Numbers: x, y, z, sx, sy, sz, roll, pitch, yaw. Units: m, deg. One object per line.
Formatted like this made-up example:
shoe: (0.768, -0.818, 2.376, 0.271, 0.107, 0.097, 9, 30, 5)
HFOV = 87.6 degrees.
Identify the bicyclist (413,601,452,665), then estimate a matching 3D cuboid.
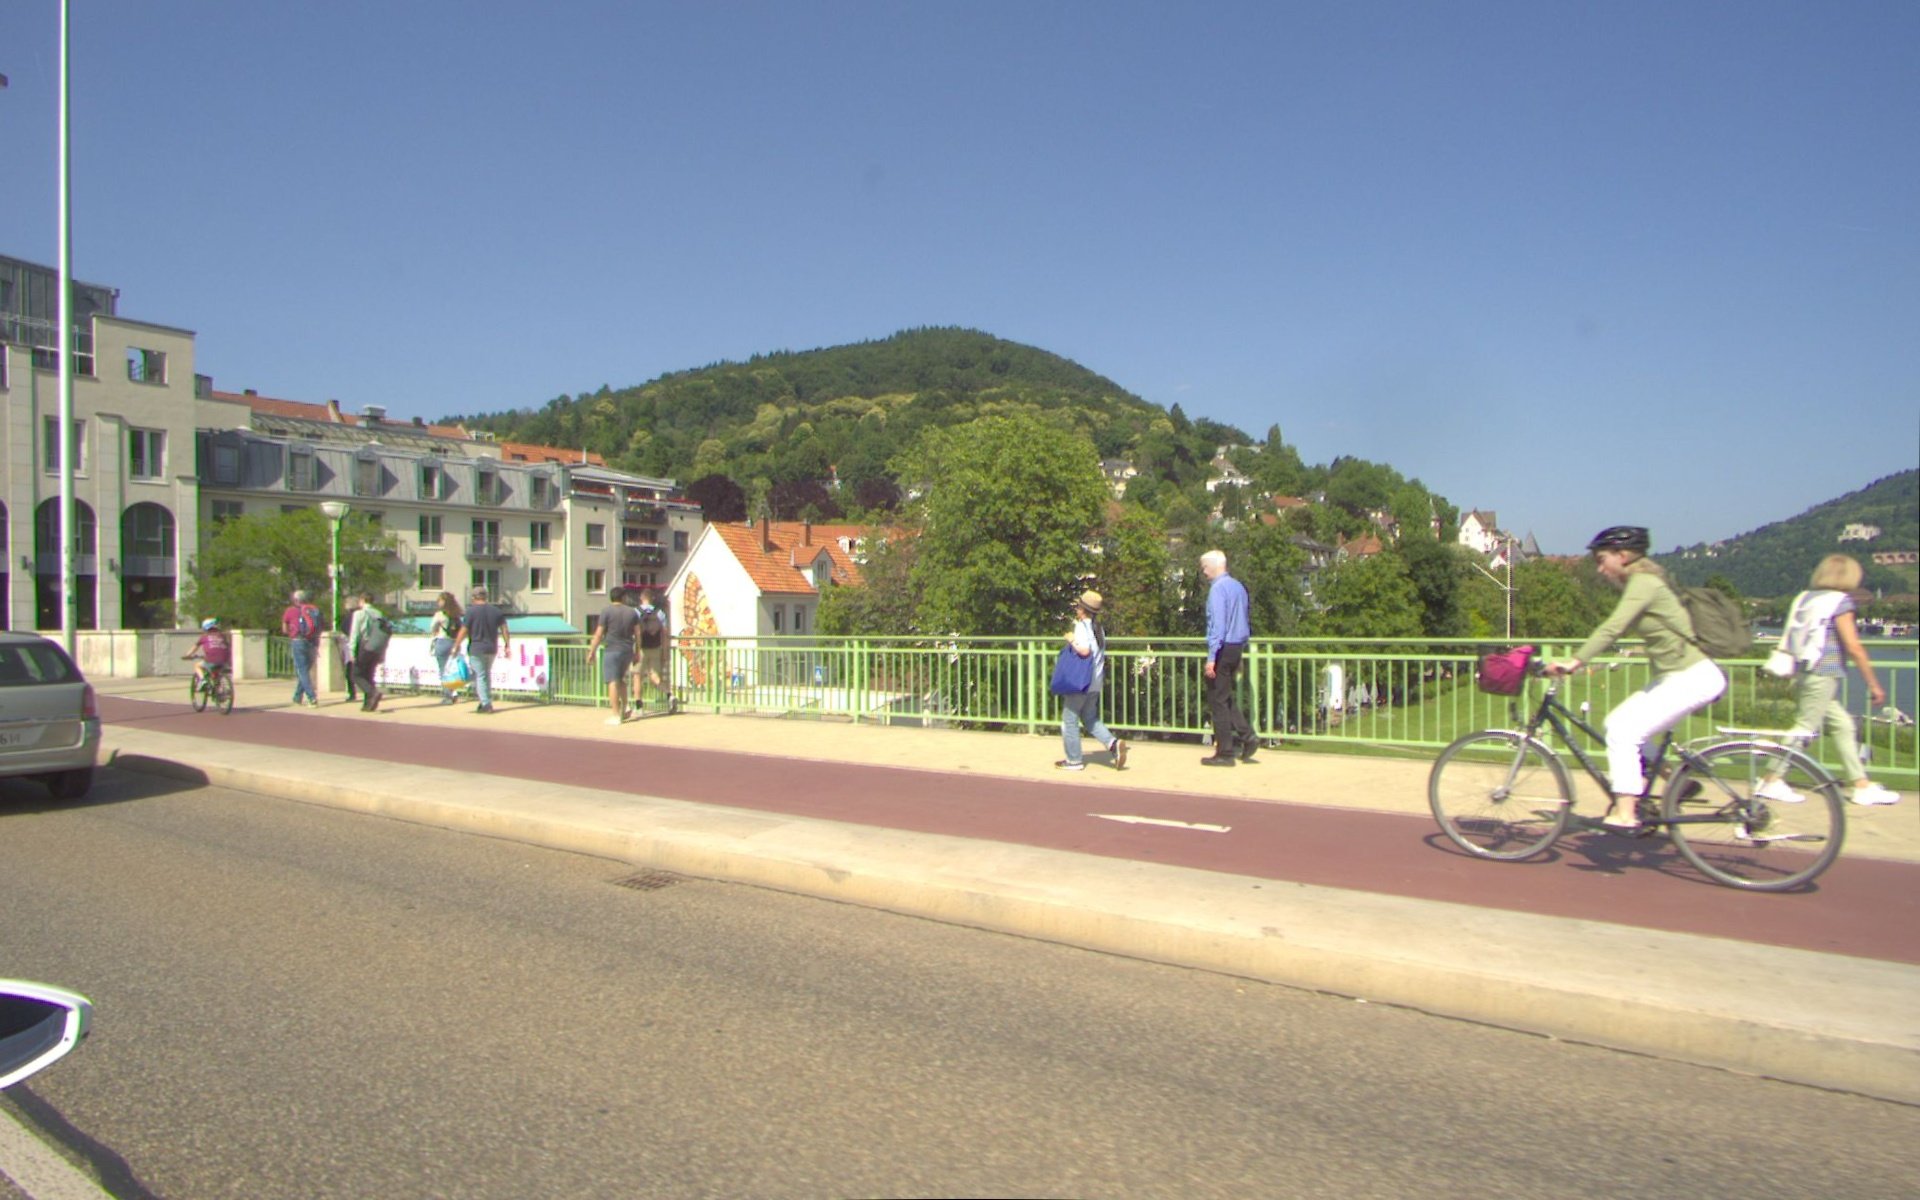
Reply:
bicyclist: (-14.719, 0.902, 27.936, 0.911, 1.718, 1.137, -1, 1, -30)

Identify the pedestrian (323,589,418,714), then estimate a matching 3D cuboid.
pedestrian: (-8.608, 0.724, 14.618, 1.058, 1.741, 0.753, 0, 1, 32)

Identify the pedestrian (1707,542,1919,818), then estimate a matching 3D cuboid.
pedestrian: (5.739, 0.488, 6.729, 1.067, 1.685, 0.945, 0, 1, 32)

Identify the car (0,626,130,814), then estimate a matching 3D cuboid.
car: (-9.402, 0.975, 9.041, 4.264, 1.484, 1.703, -1, -2, 33)

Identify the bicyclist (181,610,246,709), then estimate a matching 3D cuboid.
bicyclist: (-11.016, 0.863, 14.783, 0.659, 1.402, 0.532, 0, 2, 33)

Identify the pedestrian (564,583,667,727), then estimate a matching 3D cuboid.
pedestrian: (-4.354, 0.667, 12.660, 1.001, 1.741, 0.737, 0, 1, 32)

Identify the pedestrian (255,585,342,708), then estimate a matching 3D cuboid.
pedestrian: (-10.243, 0.700, 15.516, 1.001, 1.826, 0.737, 0, 1, 32)

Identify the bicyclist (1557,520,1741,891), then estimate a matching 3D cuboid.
bicyclist: (3.355, 0.479, 4.931, 0.692, 1.672, 0.585, -1, 1, 31)

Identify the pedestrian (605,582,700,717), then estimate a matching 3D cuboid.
pedestrian: (-4.148, 0.645, 13.501, 1.001, 1.741, 0.737, 0, 1, 32)

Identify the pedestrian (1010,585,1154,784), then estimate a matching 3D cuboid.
pedestrian: (1.037, 0.664, 8.406, 0.920, 1.550, 0.827, 0, 1, 32)

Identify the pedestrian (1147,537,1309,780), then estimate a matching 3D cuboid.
pedestrian: (2.318, 0.473, 8.627, 1.121, 1.923, 0.924, 0, 1, 32)

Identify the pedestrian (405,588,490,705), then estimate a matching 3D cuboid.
pedestrian: (-8.071, 0.710, 15.779, 1.001, 1.770, 0.737, 0, 1, 32)

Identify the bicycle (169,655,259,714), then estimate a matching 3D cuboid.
bicycle: (-11.048, 1.237, 14.819, 1.637, 0.776, 0.512, -1, 1, 33)

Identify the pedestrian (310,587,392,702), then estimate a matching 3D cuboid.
pedestrian: (-9.887, 0.698, 16.262, 1.001, 1.801, 0.737, 0, 1, 32)

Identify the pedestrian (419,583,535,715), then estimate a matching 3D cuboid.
pedestrian: (-6.896, 0.665, 14.321, 1.190, 1.801, 0.975, 0, 1, 32)

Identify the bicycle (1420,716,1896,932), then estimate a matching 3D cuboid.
bicycle: (3.322, 1.032, 4.969, 1.839, 0.776, 0.592, -1, 0, 30)
